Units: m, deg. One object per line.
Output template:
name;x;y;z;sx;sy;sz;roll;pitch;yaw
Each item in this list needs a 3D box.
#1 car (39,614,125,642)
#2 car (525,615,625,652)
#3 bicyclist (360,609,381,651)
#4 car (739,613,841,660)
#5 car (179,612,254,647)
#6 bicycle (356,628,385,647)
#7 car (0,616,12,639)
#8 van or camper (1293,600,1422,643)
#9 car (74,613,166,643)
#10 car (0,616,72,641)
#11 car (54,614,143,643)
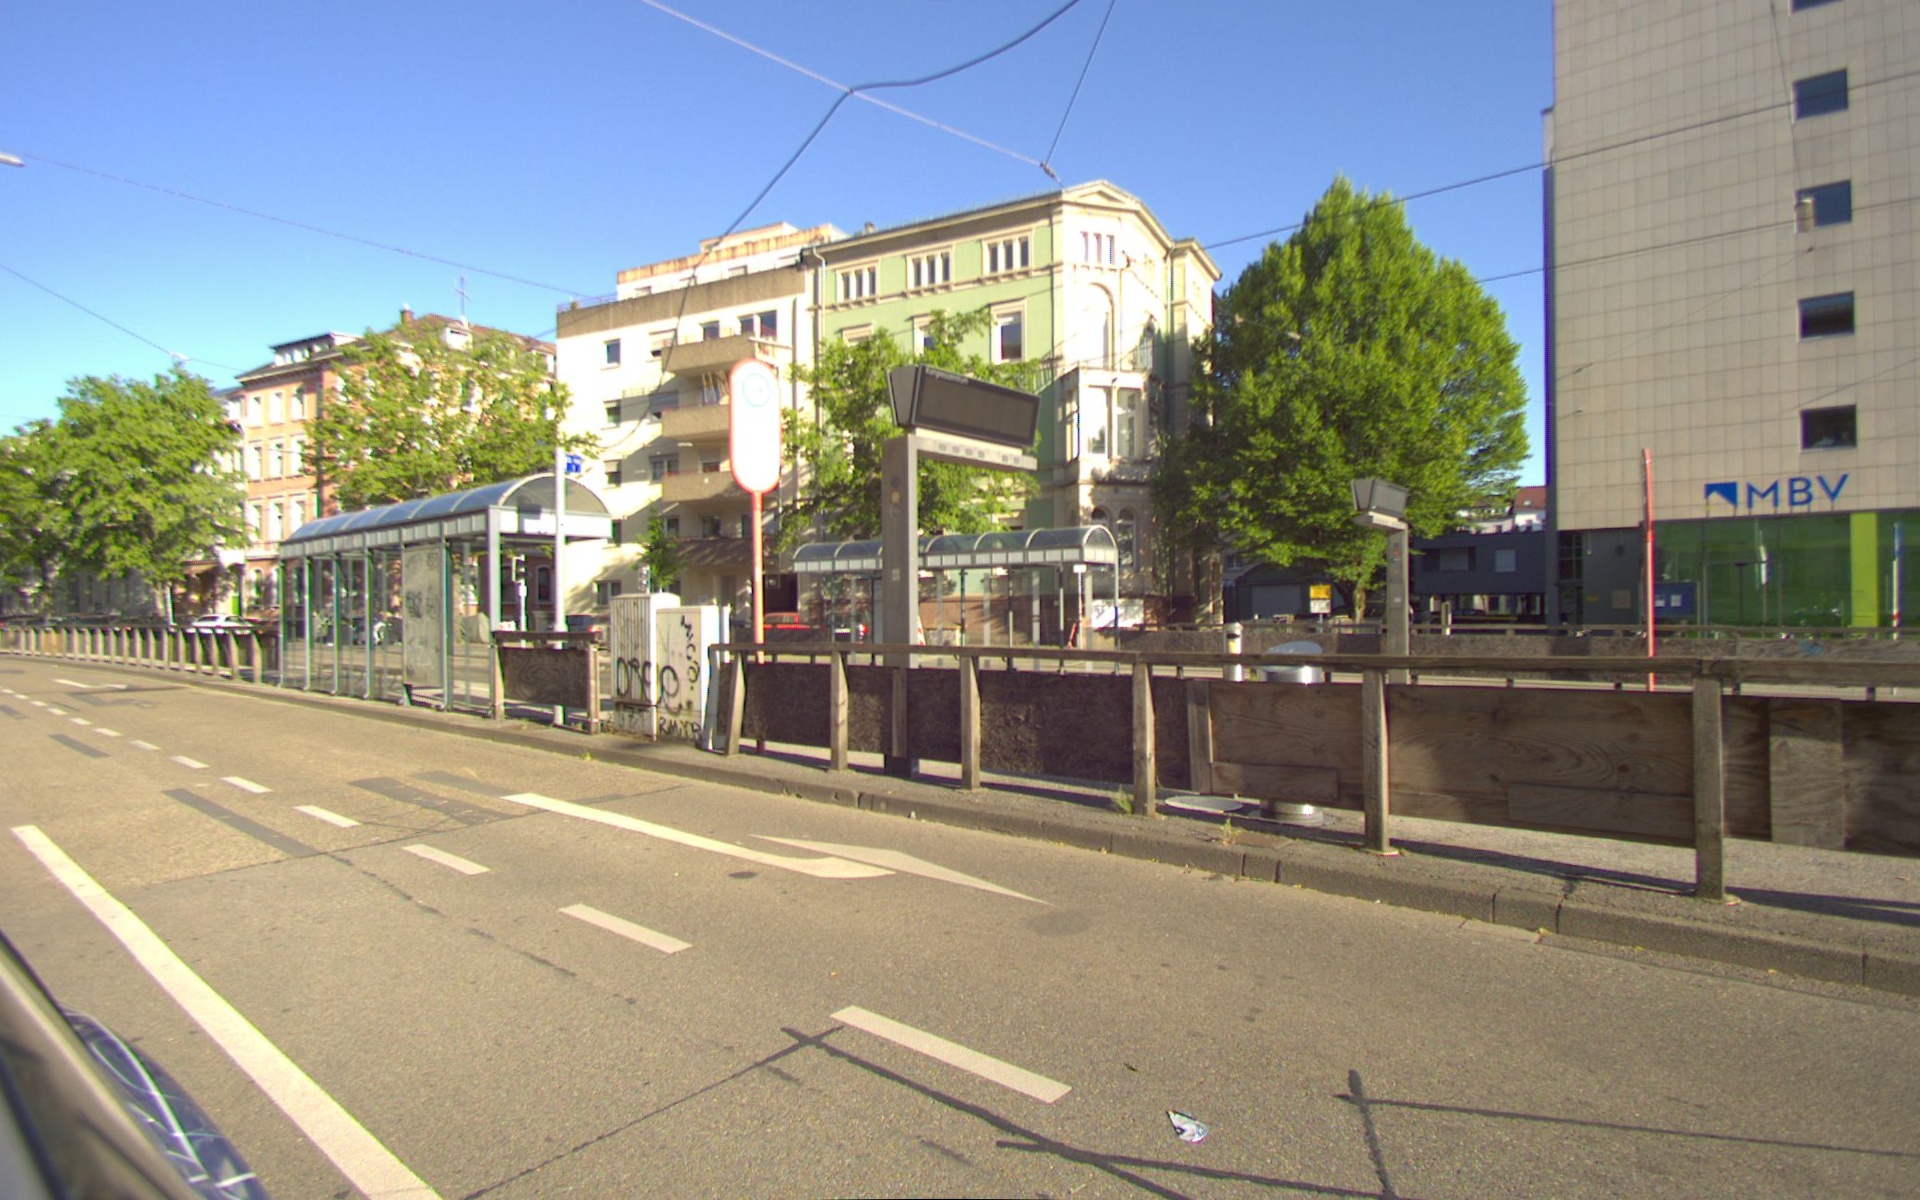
car;-55.198;1.718;63.691;2.001;1.697;3.942;-1;-2;44
car;-14.888;1.282;39.147;3.498;1.406;1.602;-1;-2;22
bicyclist;-24.911;1.276;42.753;0.770;1.774;0.529;-2;-2;41
car;-5.884;1.246;35.446;1.763;1.547;3.763;-1;-1;23
car;-40.414;1.566;55.115;1.966;1.736;4.012;0;1;-15
bicycle;-24.917;1.593;42.762;1.852;0.793;0.529;-2;-2;41
car;-69.000;1.951;70.841;2.001;1.604;3.812;-1;-2;44
van or camper;14.621;0.762;37.313;3.998;1.417;1.943;2;0;41
car;-48.871;1.625;58.893;2.001;1.697;3.942;-1;-2;44
car;-60.509;1.835;66.000;3.811;1.604;2.001;1;-2;-45
car;-52.190;1.680;61.364;2.001;1.697;3.942;-1;-2;44
